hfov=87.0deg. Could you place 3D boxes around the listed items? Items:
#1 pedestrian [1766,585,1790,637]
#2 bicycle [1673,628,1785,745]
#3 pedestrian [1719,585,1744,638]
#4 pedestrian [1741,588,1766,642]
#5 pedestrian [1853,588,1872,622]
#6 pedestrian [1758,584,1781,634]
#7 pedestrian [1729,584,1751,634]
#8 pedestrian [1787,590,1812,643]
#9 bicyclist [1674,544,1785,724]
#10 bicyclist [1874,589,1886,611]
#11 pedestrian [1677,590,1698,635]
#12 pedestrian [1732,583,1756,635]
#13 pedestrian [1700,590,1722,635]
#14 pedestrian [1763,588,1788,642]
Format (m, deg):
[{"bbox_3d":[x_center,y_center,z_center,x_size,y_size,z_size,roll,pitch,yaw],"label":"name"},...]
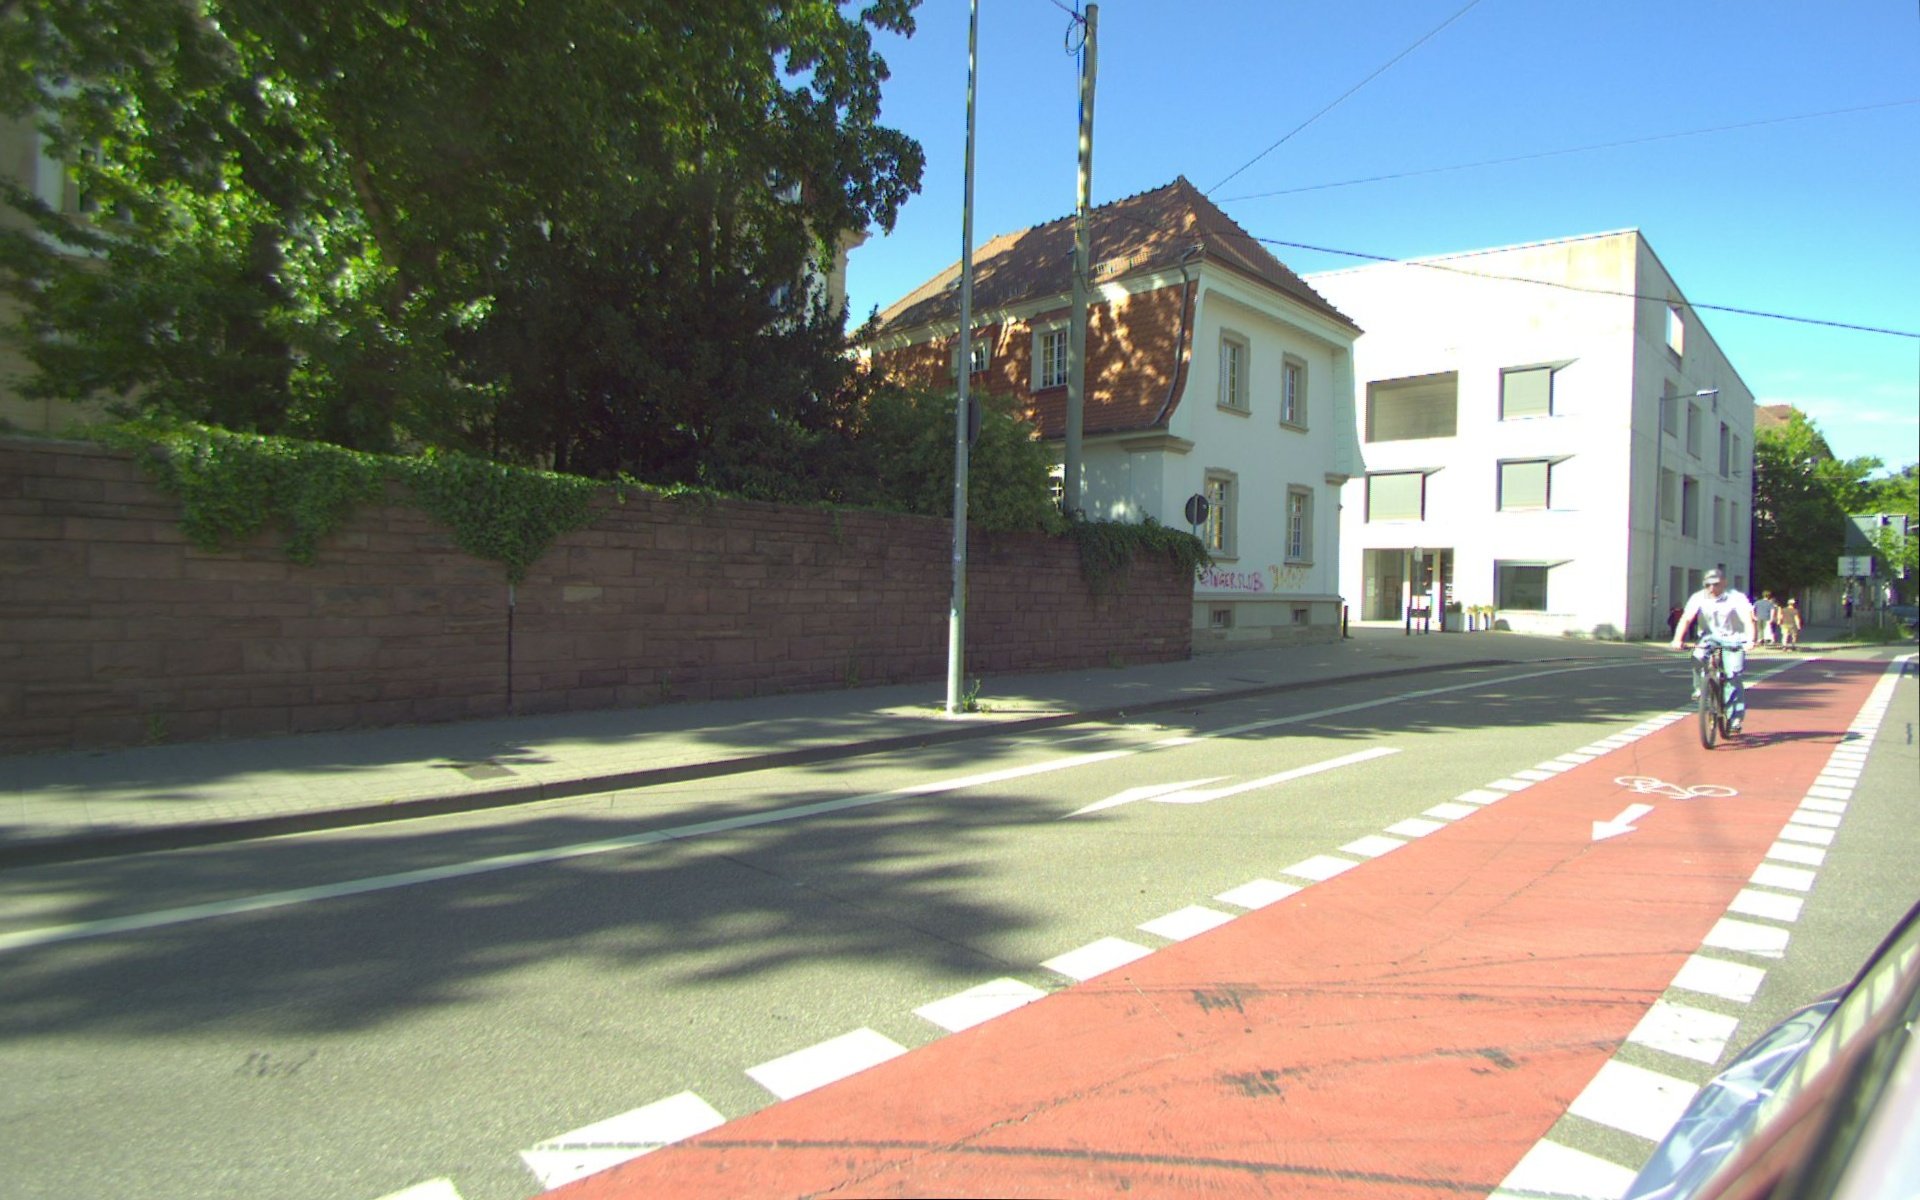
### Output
[{"bbox_3d":[29.248,0.402,36.166,0.586,1.828,0.573,2,1,45],"label":"pedestrian"},{"bbox_3d":[8.126,0.862,10.667,1.798,1.091,0.612,0,0,-42],"label":"bicycle"},{"bbox_3d":[26.957,0.392,35.361,0.586,1.828,0.537,2,1,45],"label":"pedestrian"},{"bbox_3d":[27.341,0.496,34.872,0.586,1.828,0.537,2,1,45],"label":"pedestrian"},{"bbox_3d":[48.665,0.269,54.571,0.916,1.760,0.677,0,1,-43],"label":"pedestrian"},{"bbox_3d":[30.026,0.334,37.525,0.586,1.828,0.537,2,1,45],"label":"pedestrian"},{"bbox_3d":[29.400,0.329,38.139,0.586,1.828,0.537,2,1,45],"label":"pedestrian"},{"bbox_3d":[28.136,0.544,33.921,0.586,1.749,0.512,2,1,45],"label":"pedestrian"},{"bbox_3d":[8.119,0.334,10.673,0.996,1.798,0.751,1,0,-42],"label":"bicyclist"},{"bbox_3d":[90.524,-0.005,99.587,0.968,2.234,0.811,-1,0,-43],"label":"bicyclist"},{"bbox_3d":[26.168,0.435,36.401,0.533,1.586,0.512,2,1,45],"label":"pedestrian"},{"bbox_3d":[28.289,0.310,36.509,0.586,1.828,0.573,2,1,45],"label":"pedestrian"},{"bbox_3d":[26.636,0.444,35.894,0.533,1.586,0.512,2,1,45],"label":"pedestrian"},{"bbox_3d":[27.655,0.502,34.316,0.586,1.828,0.512,2,1,45],"label":"pedestrian"}]
